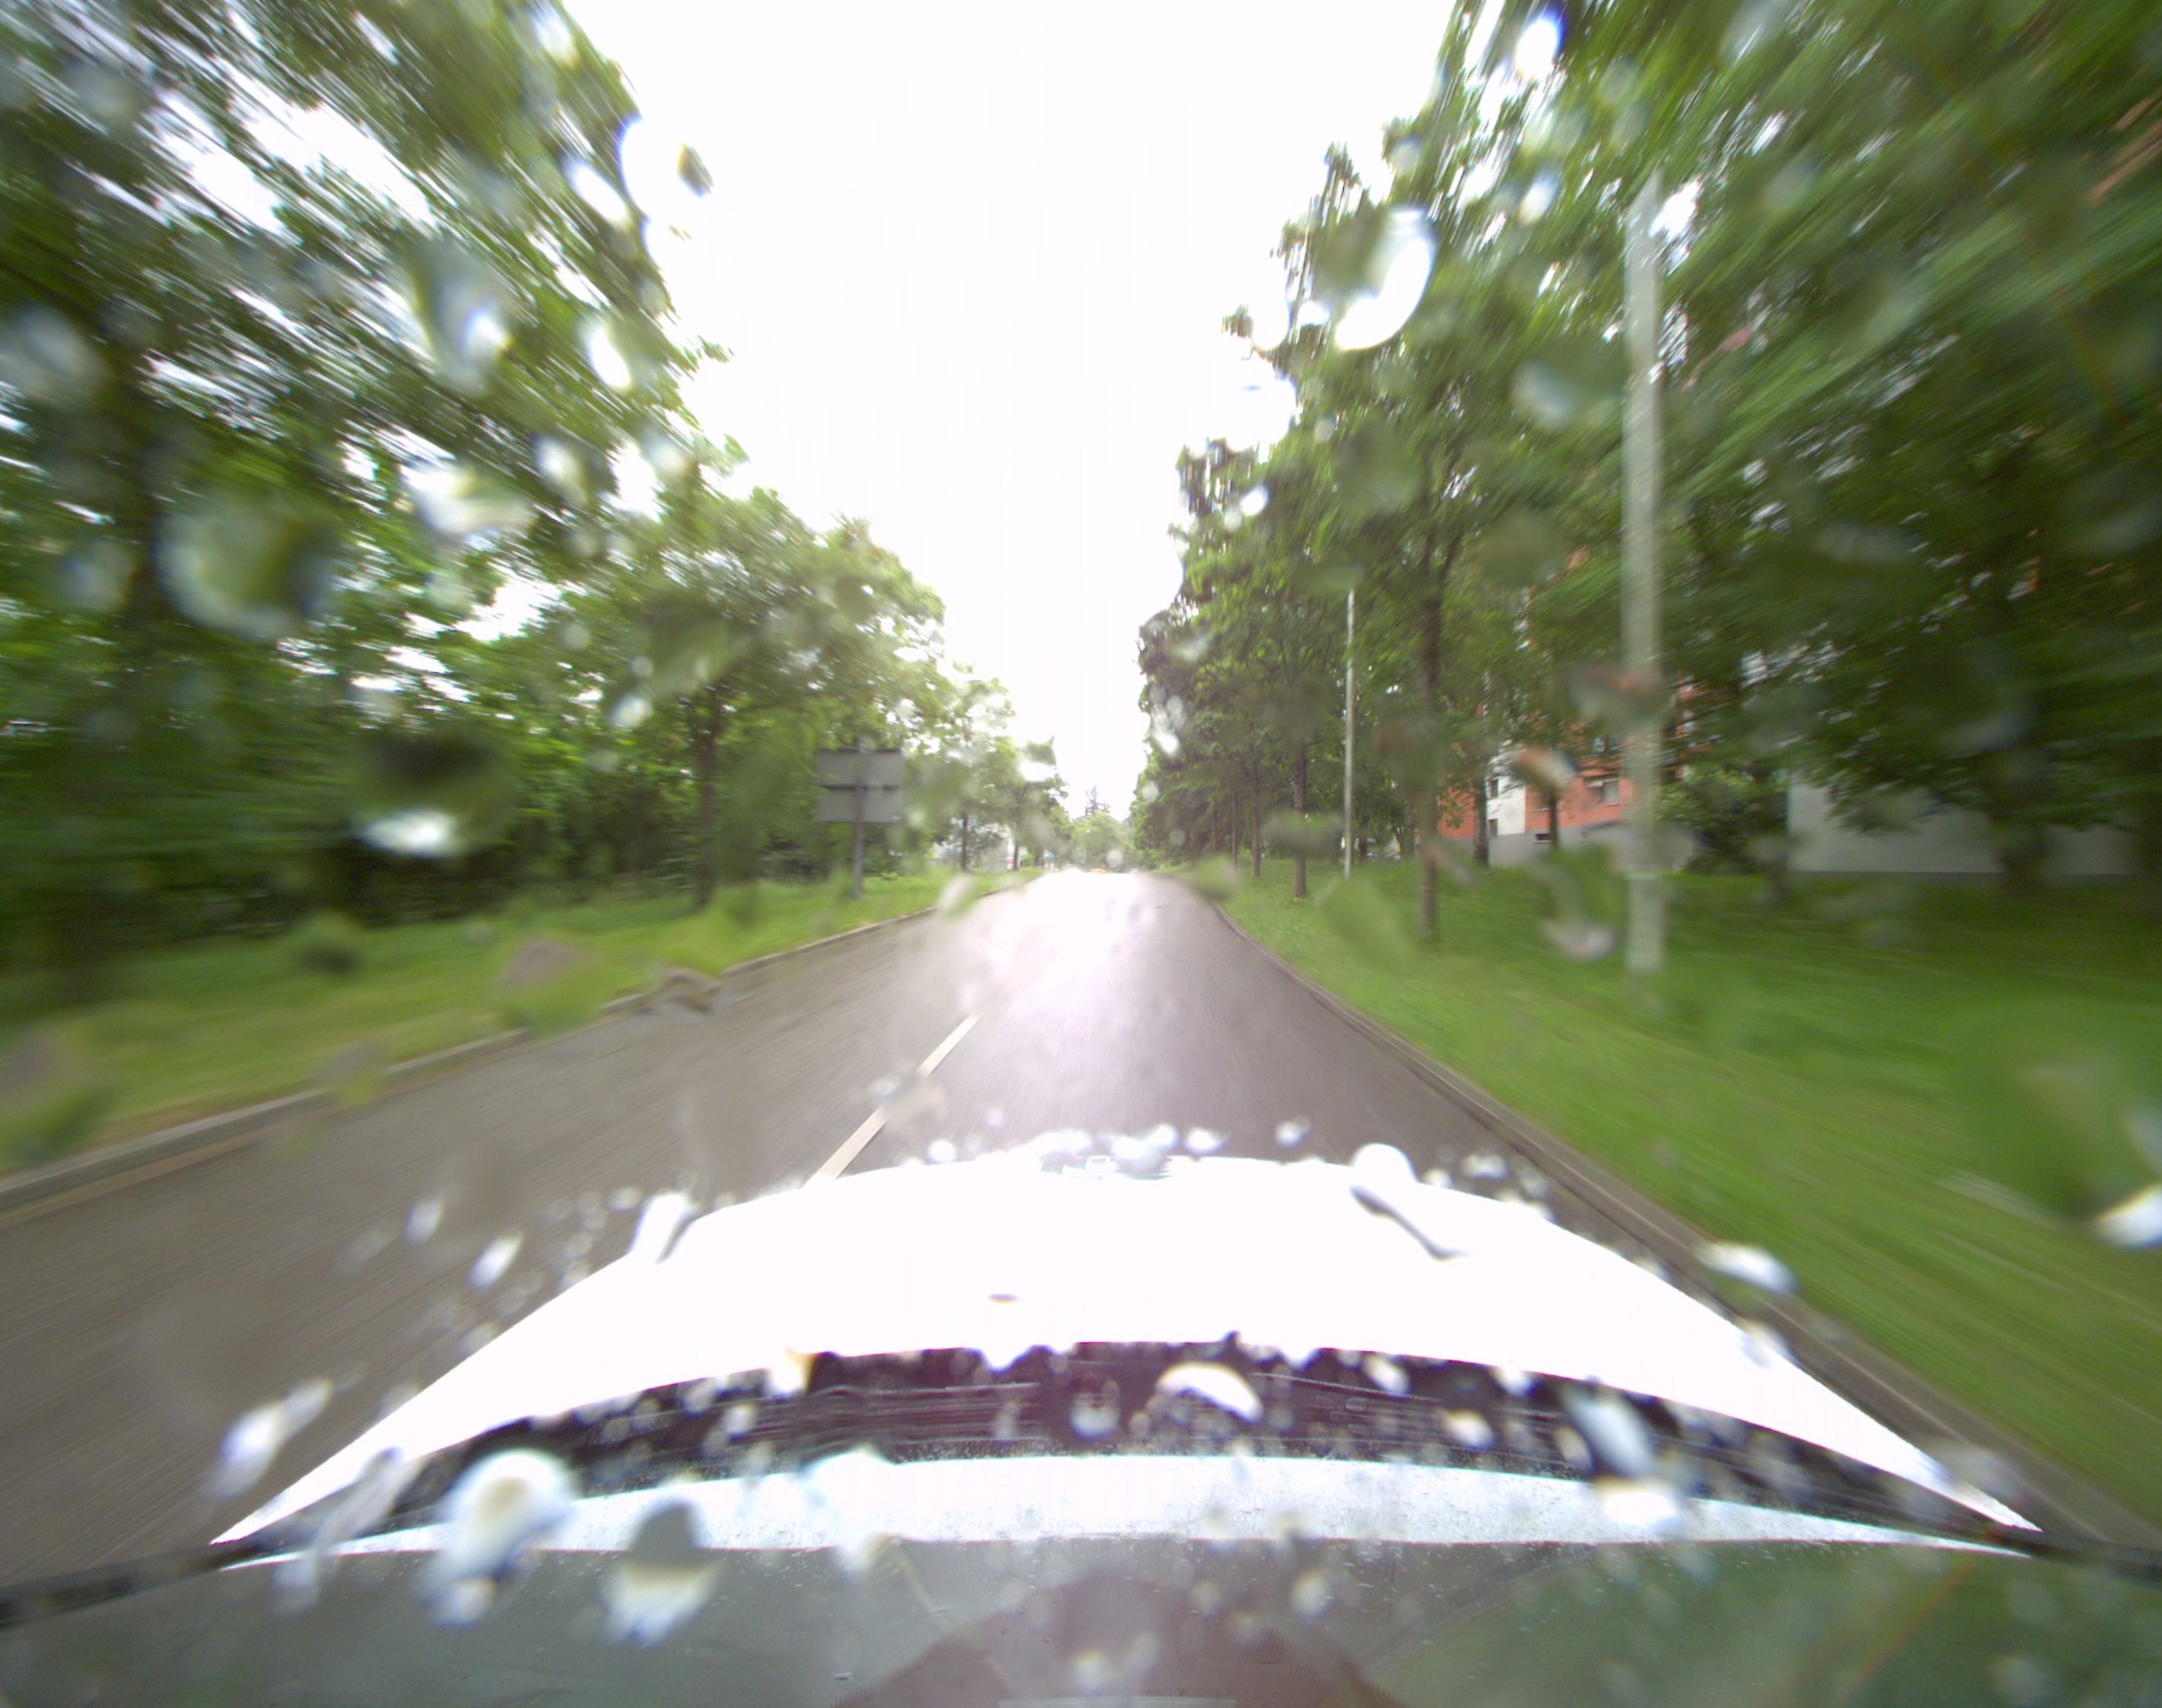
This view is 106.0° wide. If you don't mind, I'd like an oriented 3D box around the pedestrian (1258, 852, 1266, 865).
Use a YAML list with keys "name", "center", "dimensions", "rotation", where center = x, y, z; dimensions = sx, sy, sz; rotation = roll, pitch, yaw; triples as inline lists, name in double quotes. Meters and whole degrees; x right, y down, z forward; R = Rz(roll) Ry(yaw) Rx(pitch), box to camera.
- name: "pedestrian"
  center: [17.875, 0.438, 80.588]
  dimensions: [0.651, 1.284, 0.625]
  rotation: [-1, -1, 5]

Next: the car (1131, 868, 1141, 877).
- name: "car"
  center: [10.348, 3.442, 153.413]
  dimensions: [1.729, 1.511, 4.004]
  rotation: [-1, -3, 4]
